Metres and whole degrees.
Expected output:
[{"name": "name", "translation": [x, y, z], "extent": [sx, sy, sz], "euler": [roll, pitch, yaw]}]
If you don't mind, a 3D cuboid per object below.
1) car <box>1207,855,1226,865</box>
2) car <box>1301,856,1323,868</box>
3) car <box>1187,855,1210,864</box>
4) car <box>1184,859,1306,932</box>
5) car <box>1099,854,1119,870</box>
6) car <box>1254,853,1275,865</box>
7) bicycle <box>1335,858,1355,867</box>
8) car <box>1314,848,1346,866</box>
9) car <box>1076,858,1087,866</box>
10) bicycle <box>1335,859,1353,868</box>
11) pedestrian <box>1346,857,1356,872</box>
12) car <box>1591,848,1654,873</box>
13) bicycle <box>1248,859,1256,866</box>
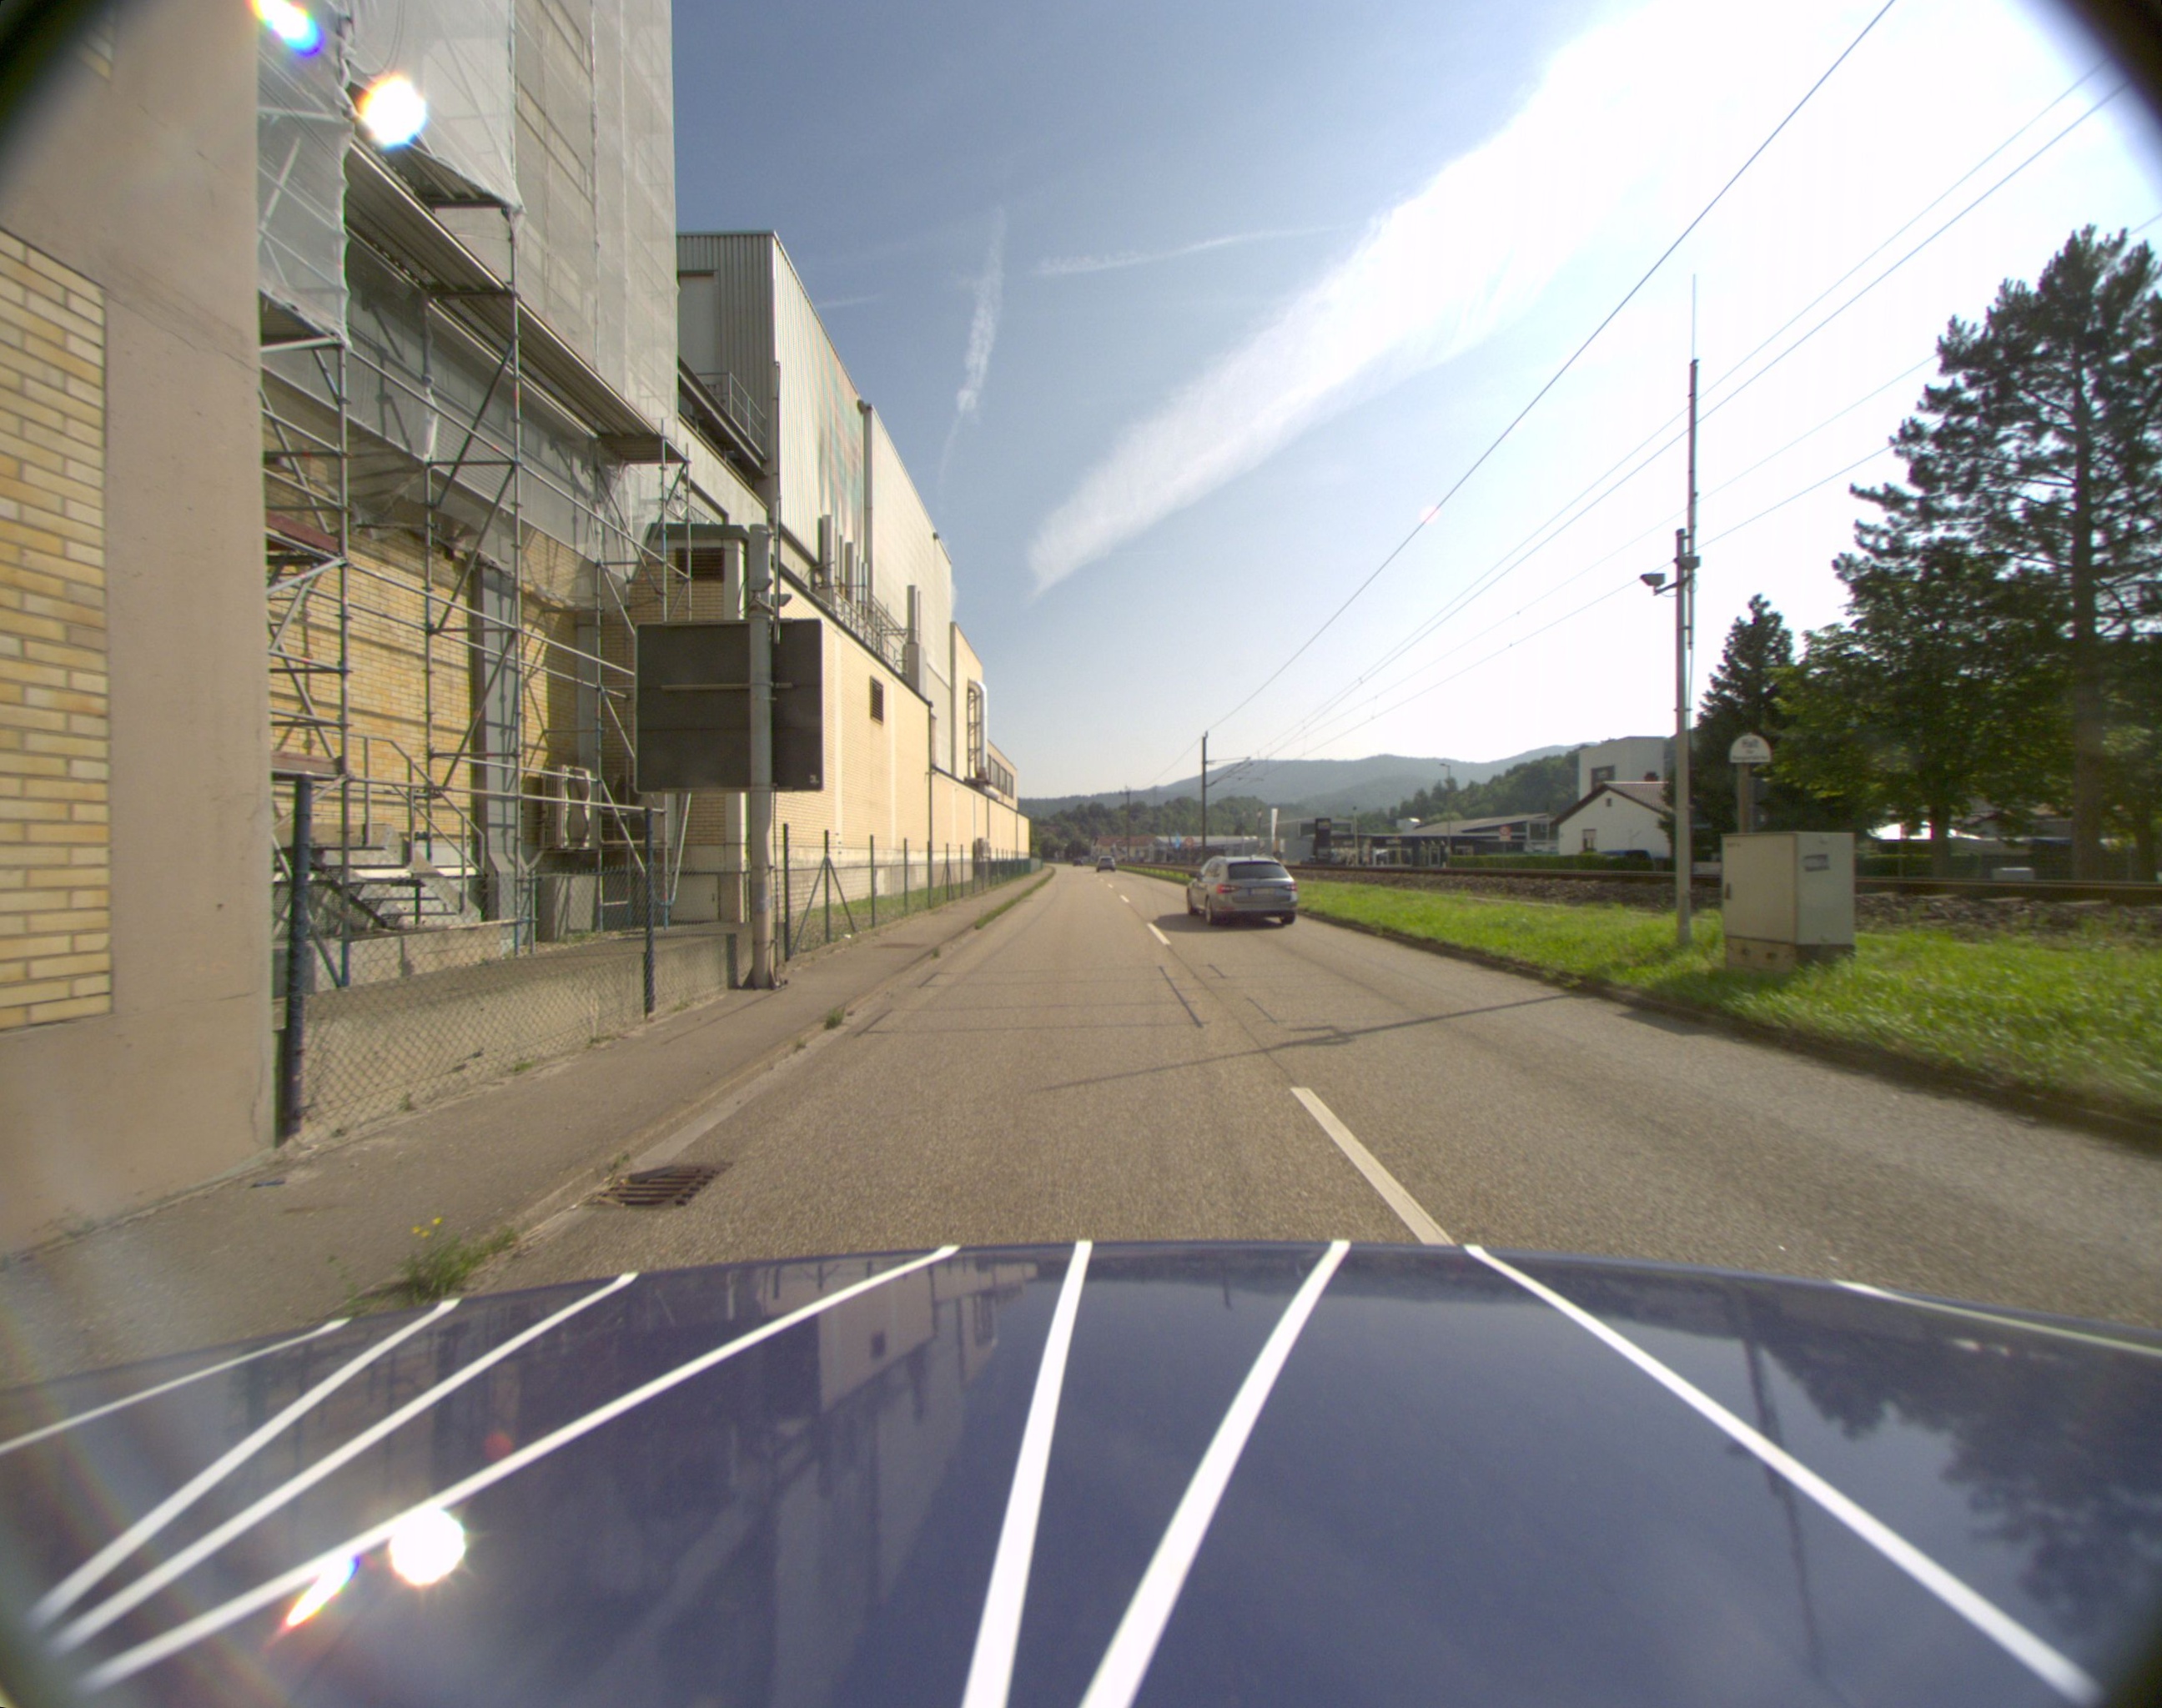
[{"name": "car", "translation": [25.313, 1.120, 141.772], "extent": [1.659, 1.613, 4.039], "euler": [-3, 0, 38]}, {"name": "car", "translation": [35.045, 1.254, 115.396], "extent": [1.873, 1.654, 3.997], "euler": [0, 1, -6]}, {"name": "car", "translation": [22.490, 1.055, 145.749], "extent": [3.968, 1.519, 1.662], "euler": [-3, 0, -6]}, {"name": "car", "translation": [3.512, 0.829, 17.093], "extent": [1.772, 1.397, 4.296], "euler": [0, 0, -1]}, {"name": "car", "translation": [2.915, 0.803, 79.316], "extent": [1.911, 1.591, 4.569], "euler": [-1, 1, 0]}, {"name": "car", "translation": [27.823, 0.743, 115.309], "extent": [1.523, 1.679, 4.368], "euler": [-2, 0, -7]}, {"name": "bicycle", "translation": [32.442, 1.064, 93.359], "extent": [2.175, 1.124, 0.729], "euler": [0, 1, -13]}, {"name": "car", "translation": [38.060, 0.442, 116.394], "extent": [2.380, 2.618, 6.155], "euler": [0, 2, -6]}, {"name": "car", "translation": [0.098, 1.445, 141.582], "extent": [1.769, 1.395, 4.118], "euler": [-1, 0, -4]}, {"name": "bicycle", "translation": [33.268, 1.172, 96.048], "extent": [2.175, 1.124, 0.729], "euler": [0, 1, -13]}, {"name": "pedestrian", "translation": [24.892, 0.984, 70.035], "extent": [0.575, 1.324, 0.673], "euler": [0, 0, -8]}, {"name": "car", "translation": [30.528, 0.360, 42.907], "extent": [1.394, 1.344, 2.893], "euler": [0, 0, -4]}, {"name": "bicycle", "translation": [22.609, 1.124, 100.580], "extent": [0.547, 0.917, 1.709], "euler": [0, 0, -5]}]
